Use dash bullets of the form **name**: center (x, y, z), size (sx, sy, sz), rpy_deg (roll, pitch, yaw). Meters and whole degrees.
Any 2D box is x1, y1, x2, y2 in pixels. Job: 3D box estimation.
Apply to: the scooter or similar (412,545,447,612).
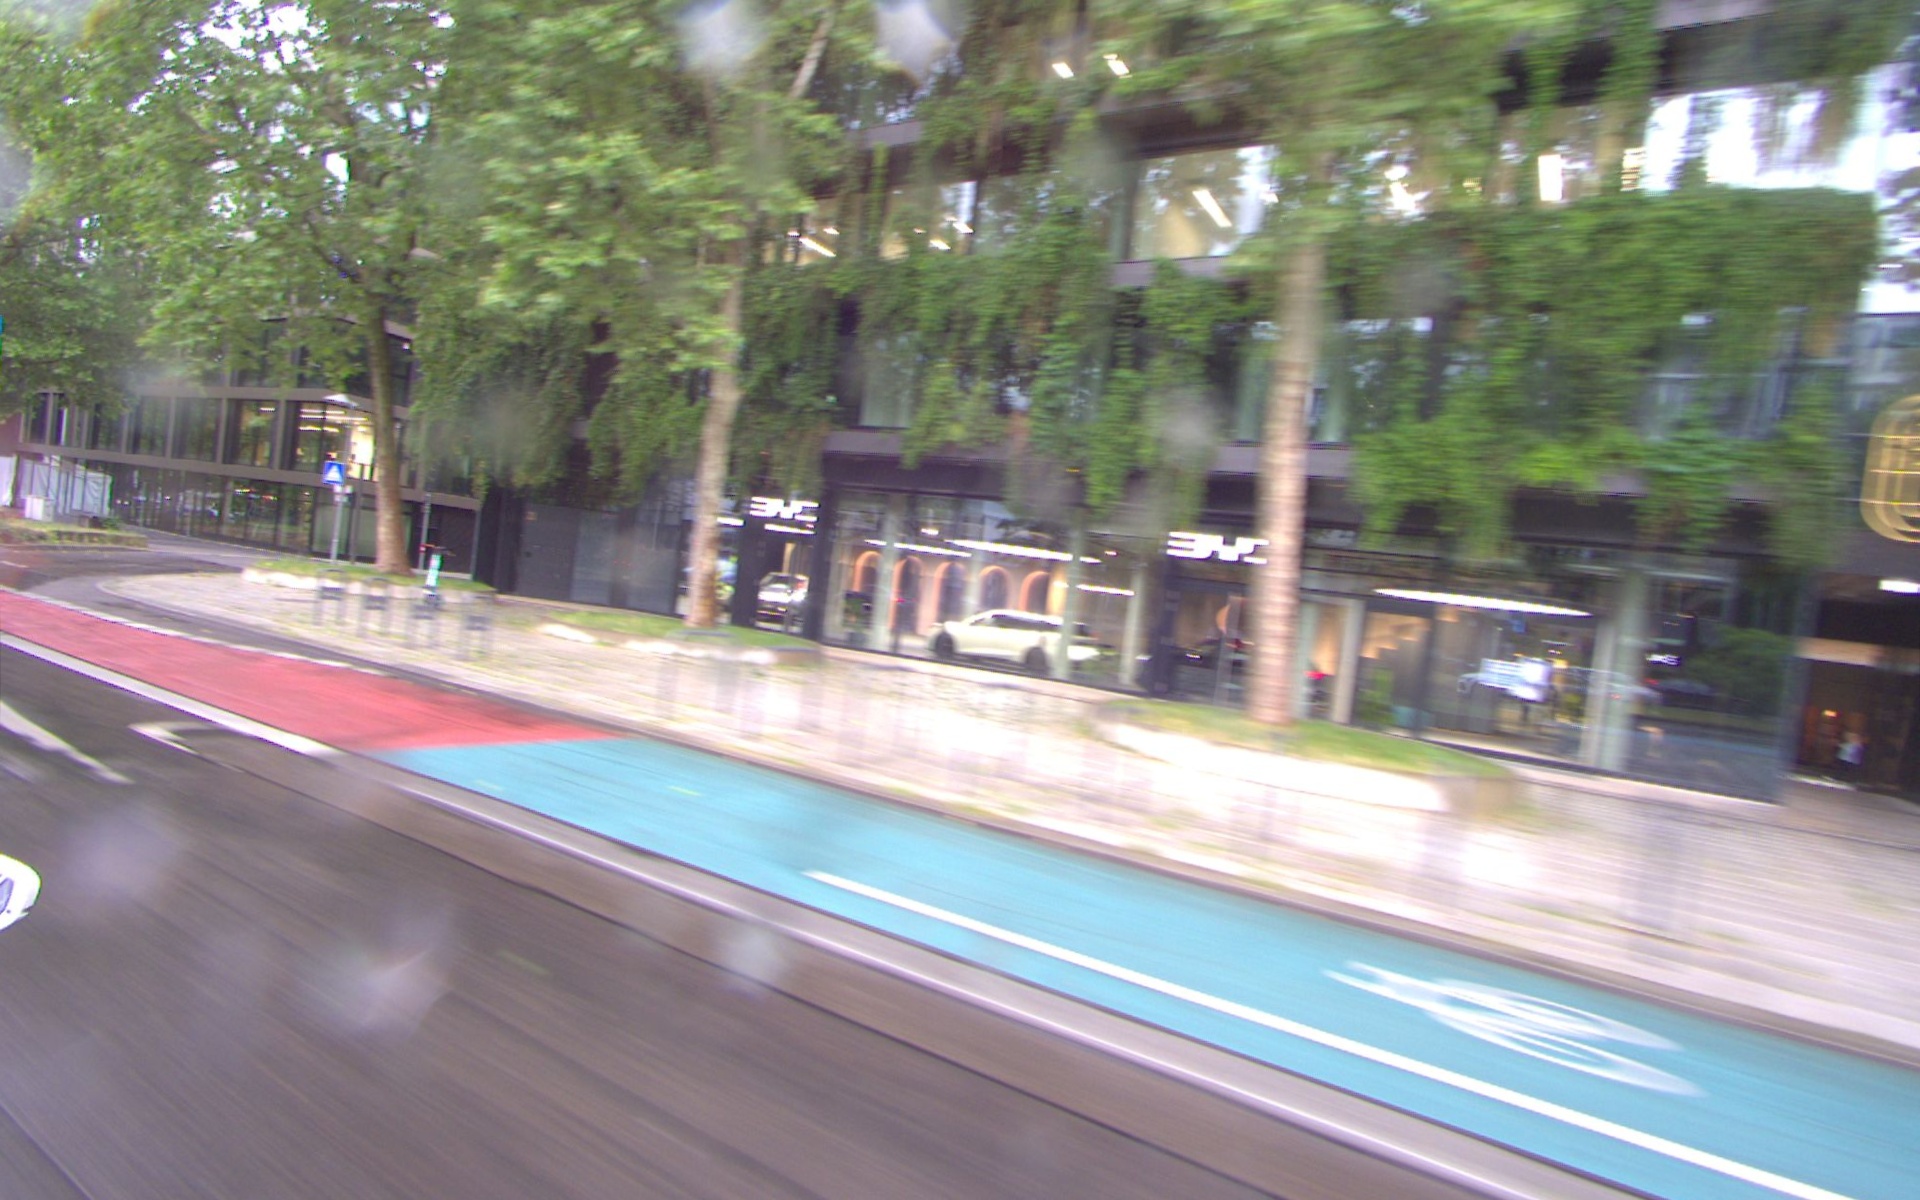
- **scooter or similar**: center (-10.342, -0.430, 19.640), size (0.377, 1.243, 1.073), rpy_deg (7, 1, -22)
